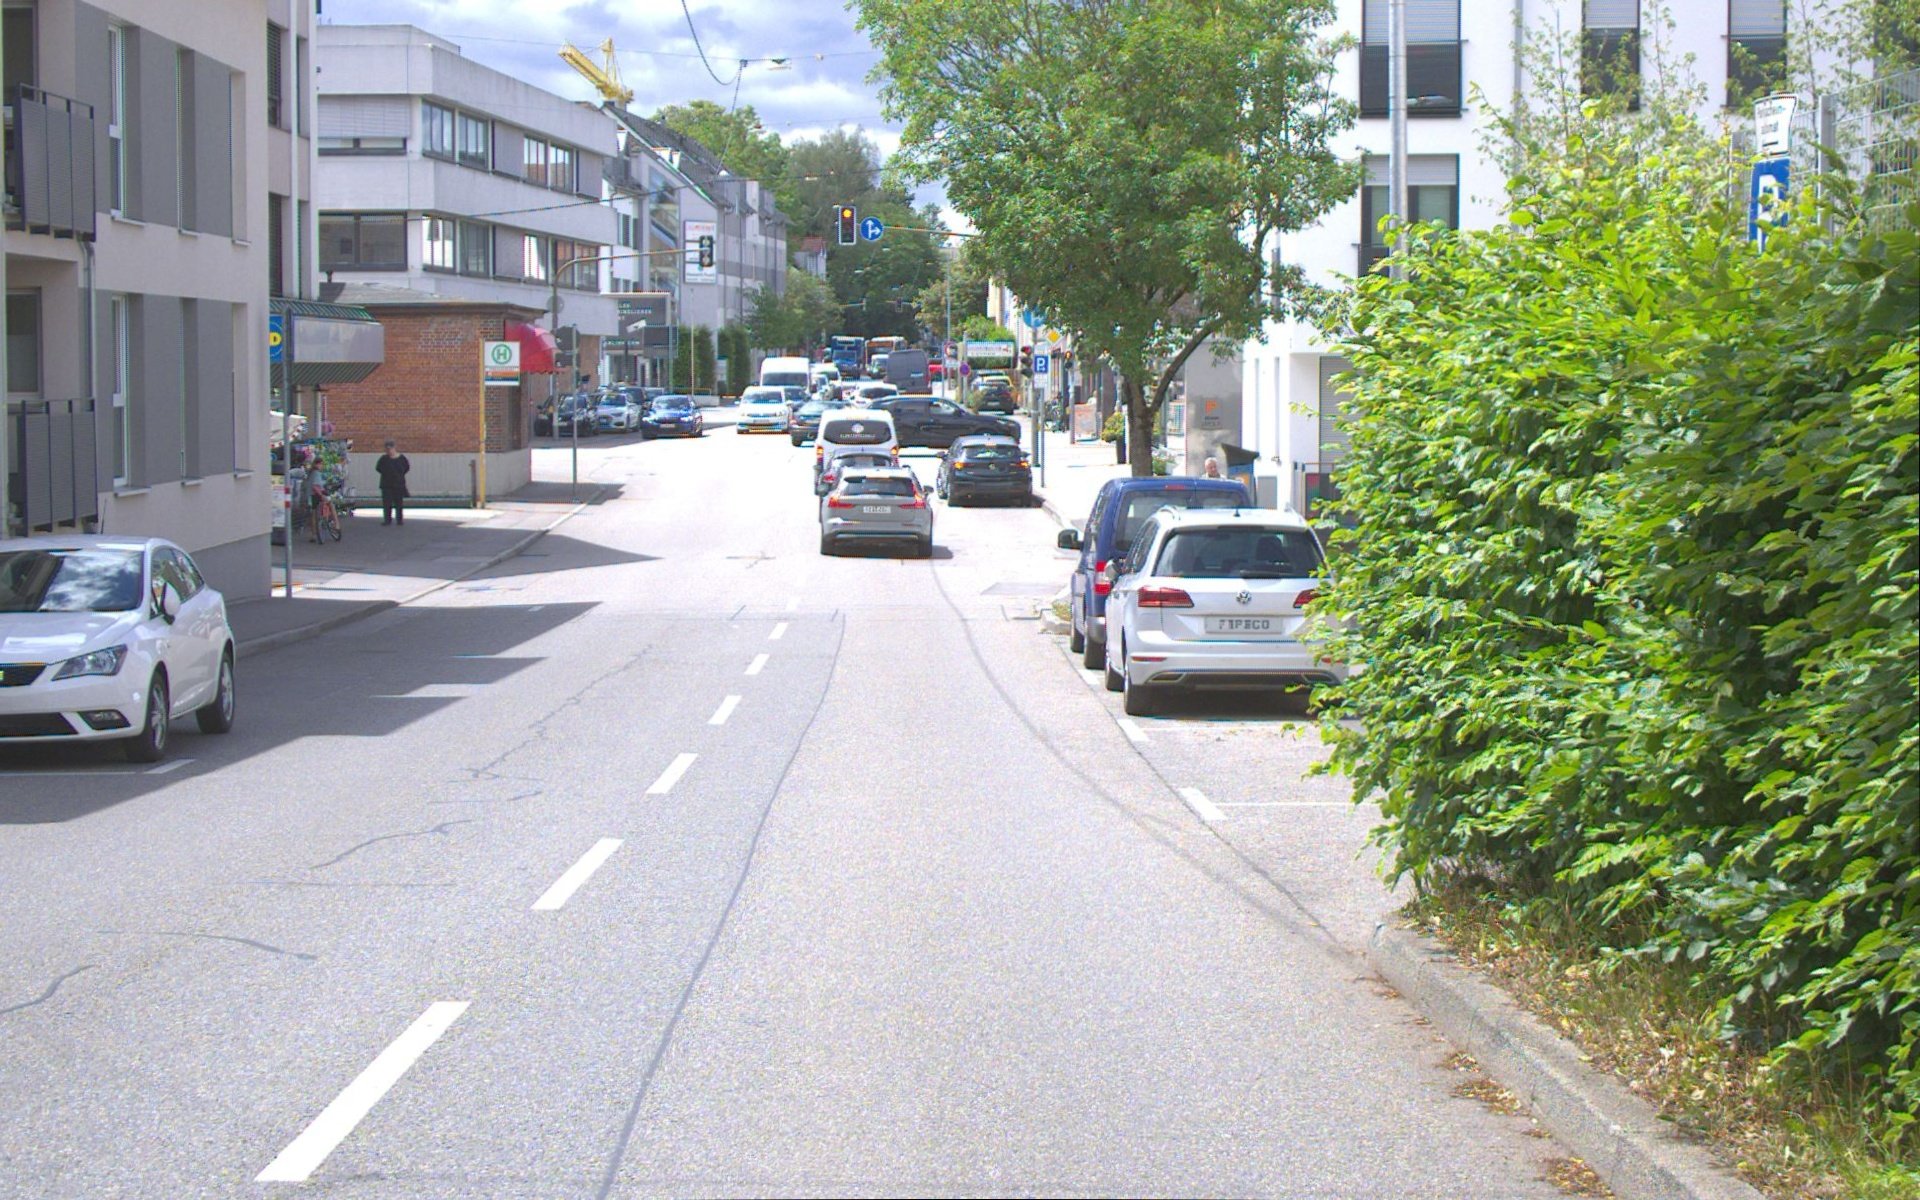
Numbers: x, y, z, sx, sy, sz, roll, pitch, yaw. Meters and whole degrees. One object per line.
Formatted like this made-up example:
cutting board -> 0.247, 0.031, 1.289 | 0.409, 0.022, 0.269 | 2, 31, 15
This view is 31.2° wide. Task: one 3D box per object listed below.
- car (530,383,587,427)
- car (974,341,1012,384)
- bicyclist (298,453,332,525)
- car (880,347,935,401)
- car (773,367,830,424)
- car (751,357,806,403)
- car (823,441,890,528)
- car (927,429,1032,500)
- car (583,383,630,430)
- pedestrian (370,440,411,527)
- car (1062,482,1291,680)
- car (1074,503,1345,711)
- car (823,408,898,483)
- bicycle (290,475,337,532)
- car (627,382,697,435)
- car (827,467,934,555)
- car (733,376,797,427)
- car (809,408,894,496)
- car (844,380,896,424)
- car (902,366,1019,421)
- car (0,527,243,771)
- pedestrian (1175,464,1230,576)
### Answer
car -> -13.555, -6.586, 116.231 | 1.551, 1.371, 3.399 | 1, 2, -1
car -> 1.641, -11.843, 171.584 | 1.801, 2.006, 4.001 | 1, 2, -1
bicyclist -> -10.762, -1.857, 57.389 | 0.458, 1.174, 0.625 | 0, 4, -1
car -> -2.429, -10.369, 158.091 | 2.436, 2.310, 5.327 | 2, 3, -1
car -> -4.916, -6.346, 106.755 | 1.635, 1.650, 3.851 | 1, 2, -1
car -> -7.126, -8.639, 135.275 | 1.873, 1.634, 4.000 | 1, 2, 1
car -> -2.018, -2.272, 67.054 | 1.273, 1.522, 3.051 | 0, 5, -1
car -> 0.383, -2.929, 73.975 | 1.752, 1.366, 4.002 | 0, 4, -7
car -> -12.495, -6.834, 121.654 | 1.384, 1.535, 3.399 | 1, 2, -1
pedestrian -> -10.541, -2.153, 63.637 | 0.628, 1.597, 0.563 | 1, 2, 4
car -> 2.030, -0.246, 33.442 | 1.844, 1.761, 4.515 | 1, 2, -1
car -> 1.936, -0.006, 27.847 | 1.786, 1.504, 4.365 | 1, 2, -1
car -> -2.537, -3.965, 88.437 | 1.836, 1.855, 3.851 | 1, 2, -1
bicycle -> -10.784, -1.612, 57.401 | 0.467, 0.858, 1.777 | 2, 4, -1
car -> -10.134, -6.508, 117.174 | 1.873, 1.634, 4.000 | 2, 2, 1
car -> -1.333, -1.534, 58.331 | 1.744, 1.412, 4.001 | 0, 2, -1
car -> -6.828, -6.938, 120.531 | 1.873, 1.634, 4.000 | 2, 2, 1
car -> -2.431, -3.367, 77.792 | 1.836, 1.855, 3.851 | 1, 4, -1
car -> -3.403, -7.481, 130.007 | 1.888, 1.503, 4.000 | -1, 2, -1
car -> 0.034, -6.639, 110.651 | 3.651, 1.609, 1.575 | 0, 3, -44
car -> -5.927, 0.261, 22.733 | 1.647, 1.414, 3.699 | 1, 2, -1
pedestrian -> 3.587, -1.180, 50.924 | 0.736, 1.641, 0.616 | 0, 2, -3
